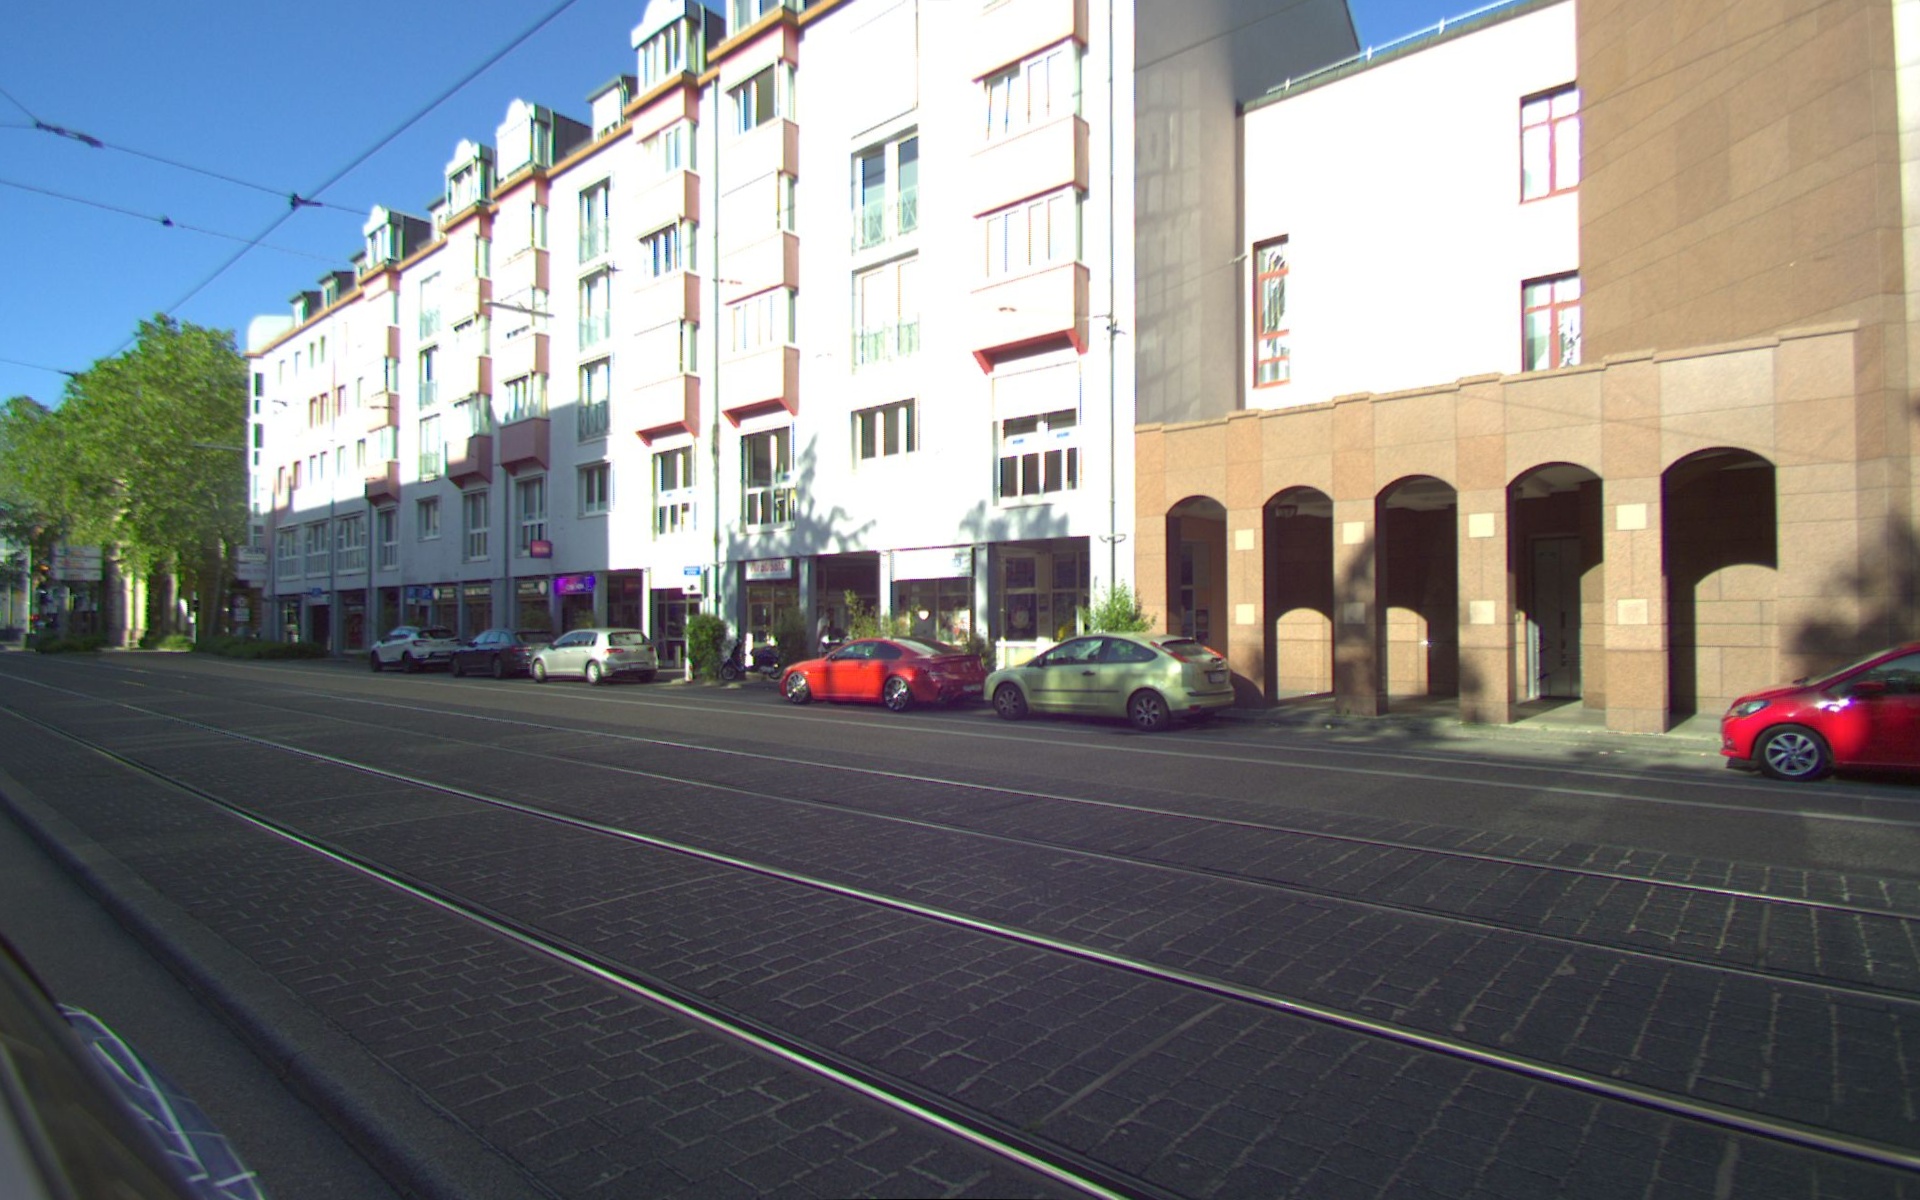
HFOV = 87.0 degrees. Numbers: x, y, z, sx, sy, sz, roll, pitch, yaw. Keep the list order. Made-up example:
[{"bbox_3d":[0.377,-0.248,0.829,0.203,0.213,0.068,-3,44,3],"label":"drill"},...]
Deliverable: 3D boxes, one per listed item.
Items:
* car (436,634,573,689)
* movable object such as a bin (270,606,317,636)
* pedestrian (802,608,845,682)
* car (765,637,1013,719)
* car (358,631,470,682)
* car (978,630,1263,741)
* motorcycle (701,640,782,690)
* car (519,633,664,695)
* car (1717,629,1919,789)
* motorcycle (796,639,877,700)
[{"bbox_3d":[-13.757,1.779,30.418,4.823,1.469,1.882,-1,-1,40],"label":"car"},{"bbox_3d":[-46.351,1.456,70.450,2.604,2.029,1.179,0,-1,-25],"label":"movable object such as a bin"},{"bbox_3d":[-3.546,1.159,26.311,0.715,1.857,0.813,-2,0,32],"label":"pedestrian"},{"bbox_3d":[-1.469,1.407,19.561,4.817,1.335,1.940,-1,-1,40],"label":"car"},{"bbox_3d":[-19.110,1.907,35.368,4.364,1.626,1.899,-1,-1,38],"label":"car"},{"bbox_3d":[2.475,1.263,16.258,4.288,1.479,1.652,-1,0,41],"label":"car"},{"bbox_3d":[-5.486,1.632,25.371,2.068,1.203,0.458,-2,0,23],"label":"motorcycle"},{"bbox_3d":[-9.951,1.650,27.190,4.202,1.486,1.734,-1,-1,38],"label":"car"},{"bbox_3d":[9.758,1.039,9.931,3.618,1.432,1.642,-1,0,41],"label":"car"},{"bbox_3d":[-2.827,1.549,22.954,2.080,1.307,0.513,-2,0,40],"label":"motorcycle"}]
